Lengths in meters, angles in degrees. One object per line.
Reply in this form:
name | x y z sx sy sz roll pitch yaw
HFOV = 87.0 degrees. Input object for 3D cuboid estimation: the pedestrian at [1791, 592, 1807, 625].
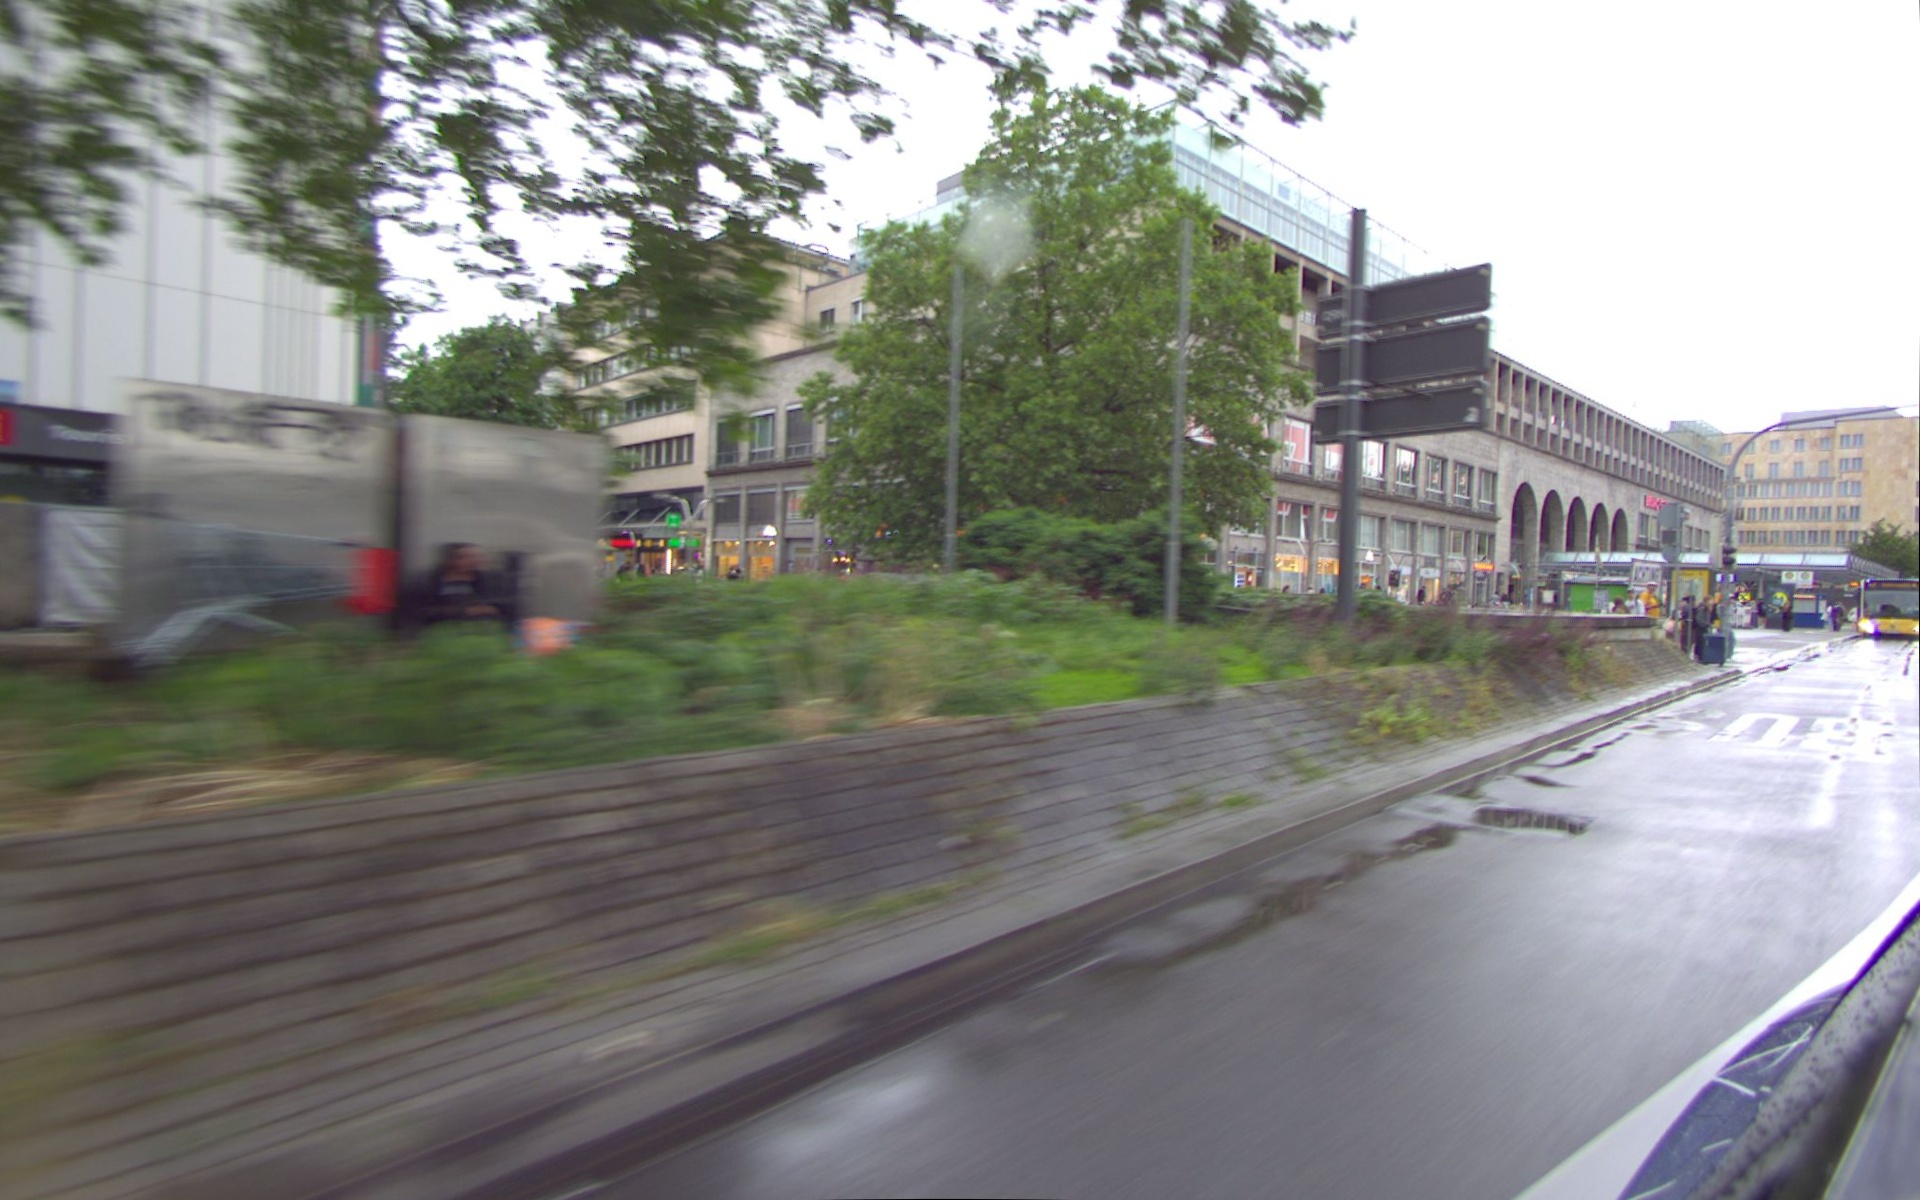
pedestrian | 43.002 0.431 51.880 0.591 1.639 0.505 0 0 36

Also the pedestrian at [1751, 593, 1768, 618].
pedestrian | 54.555 0.374 69.075 0.886 1.716 0.750 1 0 -40

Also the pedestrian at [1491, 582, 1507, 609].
pedestrian | 37.034 -0.340 69.566 0.776 1.814 0.732 0 1 -44

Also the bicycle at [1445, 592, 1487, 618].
bicycle | 24.151 0.238 48.315 1.717 1.122 0.682 4 2 25

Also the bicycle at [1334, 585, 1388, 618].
bicycle | 16.725 0.037 42.279 0.607 1.252 1.993 1 3 -42

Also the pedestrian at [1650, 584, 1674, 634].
pedestrian | 27.917 0.339 40.251 0.704 1.956 0.778 2 1 37

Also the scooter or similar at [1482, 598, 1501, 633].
scooter or similar | 18.927 0.529 36.039 0.941 1.222 0.305 0 0 -43

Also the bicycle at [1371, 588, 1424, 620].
bicycle | 19.213 0.159 44.479 0.607 1.281 1.993 1 3 -42

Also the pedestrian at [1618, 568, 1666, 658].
pedestrian | 16.868 0.312 25.045 0.707 2.172 0.711 0 1 -31

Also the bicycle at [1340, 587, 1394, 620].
bicycle | 17.166 0.154 42.698 0.607 1.252 1.993 1 3 -42

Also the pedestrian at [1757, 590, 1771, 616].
pedestrian | 58.666 0.244 73.876 0.613 1.883 0.609 1 0 -34

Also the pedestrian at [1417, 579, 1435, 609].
pedestrian | 27.271 -0.363 59.186 0.763 1.717 0.722 0 0 -44

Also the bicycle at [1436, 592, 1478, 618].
bicycle | 23.518 0.215 47.906 1.683 1.122 0.667 4 3 32

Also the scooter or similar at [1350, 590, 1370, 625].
scooter or similar | 15.311 0.270 38.760 0.613 1.276 1.741 0 1 19

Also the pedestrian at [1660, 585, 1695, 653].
pedestrian | 19.716 0.510 27.829 0.534 1.827 0.753 2 1 18

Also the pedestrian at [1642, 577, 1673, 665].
pedestrian | 17.637 0.512 25.594 0.551 2.172 0.661 2 1 32

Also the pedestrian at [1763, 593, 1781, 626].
pedestrian | 49.183 0.576 61.305 0.791 1.953 0.696 2 1 36

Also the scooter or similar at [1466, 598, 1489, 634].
scooter or similar | 18.669 0.566 36.477 1.153 1.297 0.369 0 0 -43

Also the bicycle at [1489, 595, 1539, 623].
bicycle | 27.293 0.426 49.867 2.143 1.252 0.619 2 2 -9

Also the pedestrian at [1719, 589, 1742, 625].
pedestrian | 35.577 0.337 46.722 0.491 1.639 0.654 1 1 -29

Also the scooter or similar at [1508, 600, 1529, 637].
scooter or similar | 19.380 0.639 35.124 1.081 1.252 0.324 0 0 -43

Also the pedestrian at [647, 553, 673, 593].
pedestrian | -15.338 -1.384 51.791 0.978 2.039 0.842 0 0 30

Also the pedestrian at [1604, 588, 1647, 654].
pedestrian | 16.226 0.508 24.674 0.621 1.574 0.659 0 0 -30

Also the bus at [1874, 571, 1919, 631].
bus | 55.047 0.020 58.102 8.982 3.288 3.144 0 1 -43

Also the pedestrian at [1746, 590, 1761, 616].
pedestrian | 58.606 0.228 74.773 0.579 1.897 0.599 1 0 -10

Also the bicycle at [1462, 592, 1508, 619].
bicycle | 26.577 0.257 51.274 0.606 1.252 1.998 1 3 -33

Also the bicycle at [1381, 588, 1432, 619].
bicycle | 20.085 0.136 45.506 1.983 1.252 0.610 4 3 34

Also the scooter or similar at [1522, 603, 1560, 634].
scooter or similar | 21.481 0.670 37.418 1.337 1.144 0.439 0 -2 -18

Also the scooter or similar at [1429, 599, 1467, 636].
scooter or similar | 17.282 0.615 35.847 0.429 1.265 1.369 0 1 -13

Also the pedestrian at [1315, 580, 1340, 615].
pedestrian | 16.641 -0.129 45.817 0.768 1.542 0.671 1 1 -36

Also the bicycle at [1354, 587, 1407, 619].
bicycle | 18.104 0.120 43.594 0.607 1.252 1.993 1 3 -42

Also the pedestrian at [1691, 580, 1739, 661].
pedestrian | 18.007 0.470 24.150 0.783 1.861 0.940 2 1 32

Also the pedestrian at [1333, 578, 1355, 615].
pedestrian | 17.182 -0.164 45.287 0.605 1.621 0.646 -1 3 -37

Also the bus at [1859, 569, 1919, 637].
bus | 48.556 0.103 51.842 9.090 3.245 3.116 0 1 -44

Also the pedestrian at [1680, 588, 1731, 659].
pedestrian | 18.600 0.562 25.254 0.746 1.712 0.876 1 1 -44

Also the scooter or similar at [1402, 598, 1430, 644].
scooter or similar | 12.636 0.573 28.039 0.352 1.232 1.140 0 0 44

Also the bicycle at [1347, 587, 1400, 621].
bicycle | 17.608 0.159 43.142 0.607 1.351 1.993 1 3 -42

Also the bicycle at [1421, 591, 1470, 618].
bicycle | 22.770 0.197 47.503 1.968 1.122 0.816 4 3 32

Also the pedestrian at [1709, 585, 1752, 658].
pedestrian | 19.728 0.528 25.928 0.742 1.827 0.702 2 1 32

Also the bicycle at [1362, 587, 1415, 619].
bicycle | 18.629 0.135 44.015 0.607 1.252 1.993 1 3 -42

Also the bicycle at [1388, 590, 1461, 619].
bicycle | 21.264 0.188 46.377 2.868 1.122 0.869 4 3 35

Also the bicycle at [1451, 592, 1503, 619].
bicycle | 25.095 0.247 49.170 2.065 1.153 0.884 4 2 21

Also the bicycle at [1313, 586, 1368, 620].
bicycle | 15.627 0.107 41.600 0.607 1.252 1.993 1 3 -42

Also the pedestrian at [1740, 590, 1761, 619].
pedestrian | 51.916 0.287 66.482 0.779 1.827 0.987 2 1 18

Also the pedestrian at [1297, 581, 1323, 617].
pedestrian | 16.412 -0.048 47.481 0.872 1.695 0.795 0 0 -36

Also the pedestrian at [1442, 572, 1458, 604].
pedestrian | 30.541 -0.737 63.114 0.780 1.953 0.650 2 1 22

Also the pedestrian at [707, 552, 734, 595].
pedestrian | -11.406 -1.245 48.186 0.978 2.039 0.842 0 0 30

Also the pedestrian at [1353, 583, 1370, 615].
pedestrian | 21.511 -0.064 54.245 0.696 1.710 0.597 0 1 -44
